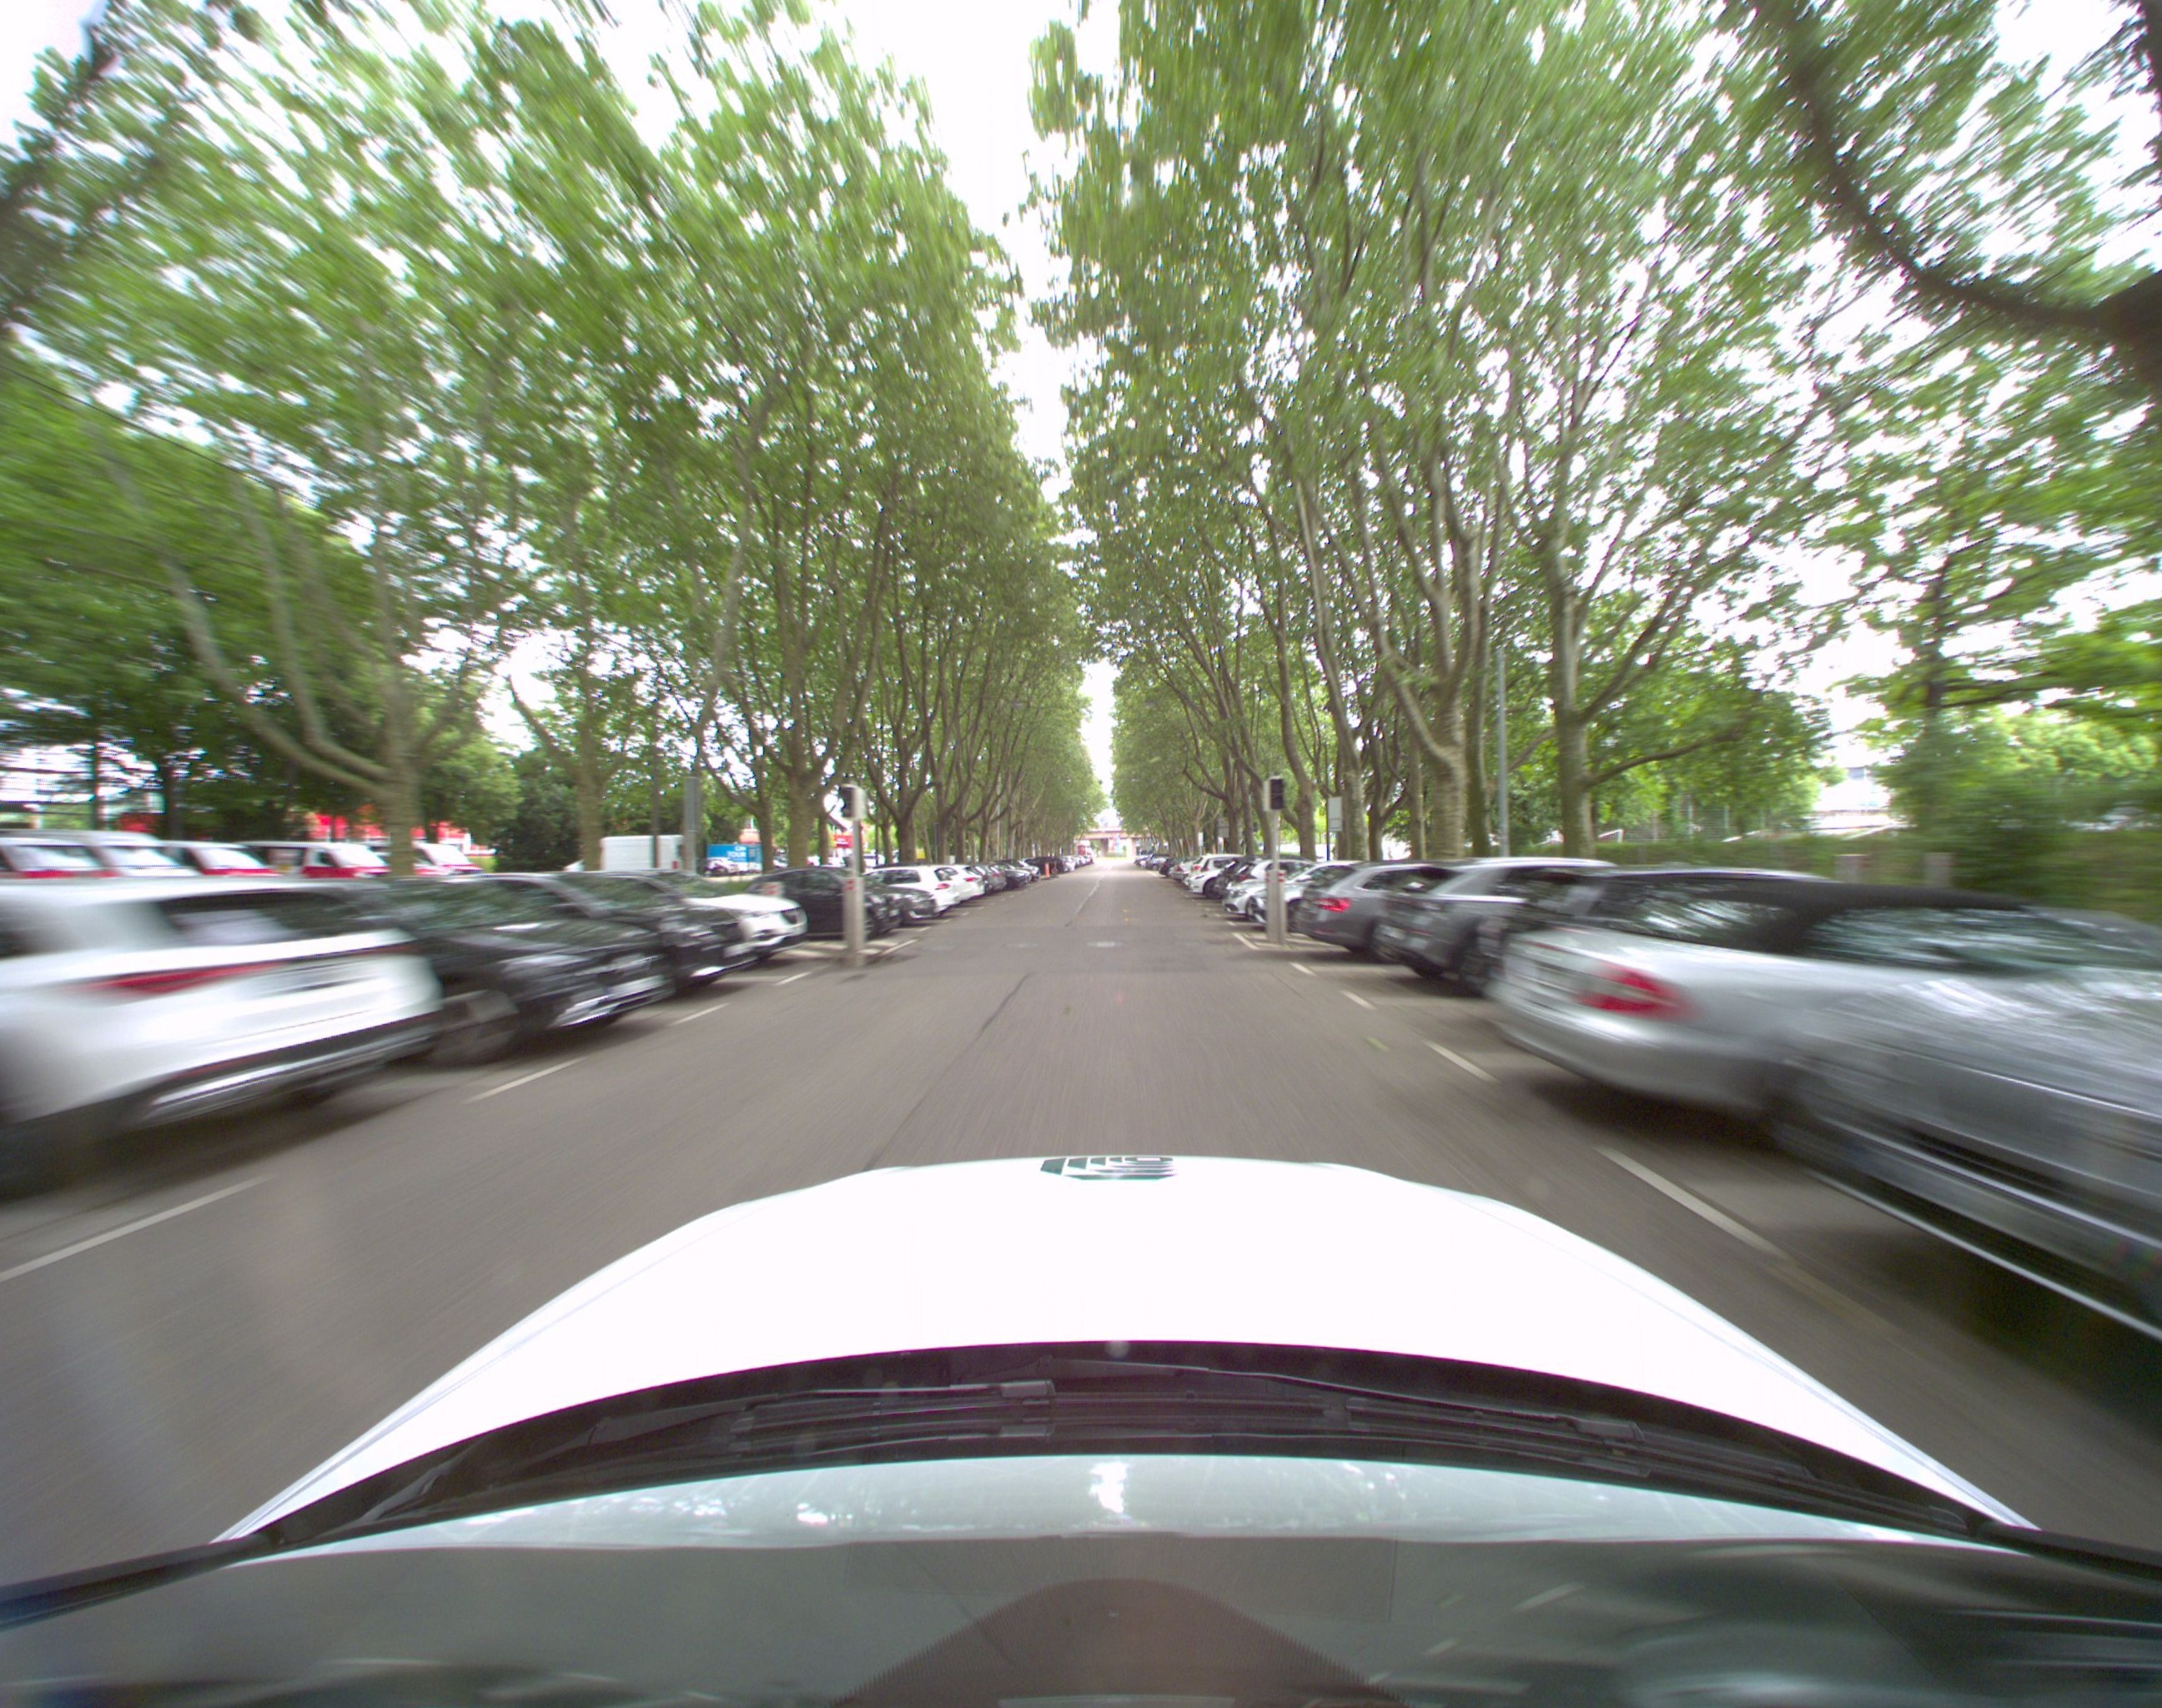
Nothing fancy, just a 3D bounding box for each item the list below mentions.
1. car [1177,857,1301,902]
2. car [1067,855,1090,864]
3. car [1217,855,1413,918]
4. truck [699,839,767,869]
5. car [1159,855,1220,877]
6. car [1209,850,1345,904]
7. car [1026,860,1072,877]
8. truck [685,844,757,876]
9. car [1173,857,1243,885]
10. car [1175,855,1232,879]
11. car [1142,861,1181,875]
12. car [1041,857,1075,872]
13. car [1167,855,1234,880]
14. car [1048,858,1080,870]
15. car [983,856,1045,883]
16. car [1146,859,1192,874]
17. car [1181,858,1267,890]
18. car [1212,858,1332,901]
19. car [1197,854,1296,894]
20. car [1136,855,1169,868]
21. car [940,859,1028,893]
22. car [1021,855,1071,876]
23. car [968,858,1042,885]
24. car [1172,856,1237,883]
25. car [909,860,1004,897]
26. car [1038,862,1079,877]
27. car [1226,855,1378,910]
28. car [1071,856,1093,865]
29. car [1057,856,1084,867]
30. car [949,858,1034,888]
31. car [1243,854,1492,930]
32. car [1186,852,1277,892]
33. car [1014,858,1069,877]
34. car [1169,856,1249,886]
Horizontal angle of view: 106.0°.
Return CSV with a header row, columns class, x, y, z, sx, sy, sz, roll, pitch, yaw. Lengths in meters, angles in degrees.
class,x,y,z,sx,sy,sz,roll,pitch,yaw
car,5.702,0.904,29.661,4.154,1.596,1.854,0,0,-1
car,-0.472,1.011,141.804,3.795,1.515,1.688,0,0,5
car,5.562,0.756,19.680,4.284,1.470,1.623,0,0,-1
truck,-31.635,0.001,74.212,5.216,2.742,2.207,0,0,2
car,7.238,0.823,54.695,3.904,1.452,1.556,0,0,1
car,5.983,0.693,25.098,3.765,1.597,1.820,0,0,-1
car,-3.046,1.393,77.531,4.152,1.381,1.871,-3,0,1
truck,-31.239,0.480,70.747,5.291,2.742,1.929,0,0,2
car,6.562,0.851,42.332,3.415,1.424,1.518,0,0,-1
car,7.840,0.815,52.289,3.412,1.508,1.556,0,0,1
car,8.805,1.533,89.049,4.153,1.442,1.734,0,0,7
car,-2.797,1.238,99.138,3.793,1.602,1.790,-3,0,7
car,6.879,0.777,47.157,3.665,1.424,1.519,0,0,1
car,-2.211,1.308,104.905,3.793,1.296,1.790,-3,0,7
car,-4.303,0.996,52.540,3.815,1.554,1.694,-2,0,-1
car,8.895,1.293,81.772,4.549,1.486,2.004,0,0,7
car,6.439,0.895,36.816,3.634,1.410,1.518,0,0,-1
car,6.281,0.832,27.054,3.634,1.371,1.518,0,0,-1
car,6.597,0.784,32.629,3.634,1.519,1.643,0,0,-1
car,9.583,1.041,109.384,4.362,1.751,1.731,0,0,0
car,-4.678,1.051,39.775,4.009,1.430,1.694,-2,0,-1
car,-3.203,1.055,75.042,4.456,1.677,1.762,-3,0,1
car,-4.616,1.063,49.794,4.319,1.430,1.694,-2,0,-1
car,6.695,0.847,44.327,3.409,1.424,1.521,0,0,4
car,-5.337,1.040,35.243,3.815,1.430,1.694,-2,0,-1
car,-2.266,1.573,82.466,3.793,1.354,1.666,-3,0,7
car,6.009,0.757,22.433,3.765,1.470,1.623,0,0,-1
car,0.181,1.195,143.755,3.795,1.515,1.688,0,0,5
car,-1.550,1.099,122.721,3.793,1.515,1.690,-3,0,7
car,-4.920,1.034,44.949,4.385,1.430,1.695,-2,0,1
car,5.775,0.751,16.801,4.597,1.470,1.650,0,0,1
car,6.400,0.740,34.891,3.634,1.667,1.518,0,0,-1
car,-3.490,1.197,72.100,4.648,1.427,2.000,-3,0,1
car,6.256,0.817,40.040,3.634,1.424,1.984,0,0,-1
